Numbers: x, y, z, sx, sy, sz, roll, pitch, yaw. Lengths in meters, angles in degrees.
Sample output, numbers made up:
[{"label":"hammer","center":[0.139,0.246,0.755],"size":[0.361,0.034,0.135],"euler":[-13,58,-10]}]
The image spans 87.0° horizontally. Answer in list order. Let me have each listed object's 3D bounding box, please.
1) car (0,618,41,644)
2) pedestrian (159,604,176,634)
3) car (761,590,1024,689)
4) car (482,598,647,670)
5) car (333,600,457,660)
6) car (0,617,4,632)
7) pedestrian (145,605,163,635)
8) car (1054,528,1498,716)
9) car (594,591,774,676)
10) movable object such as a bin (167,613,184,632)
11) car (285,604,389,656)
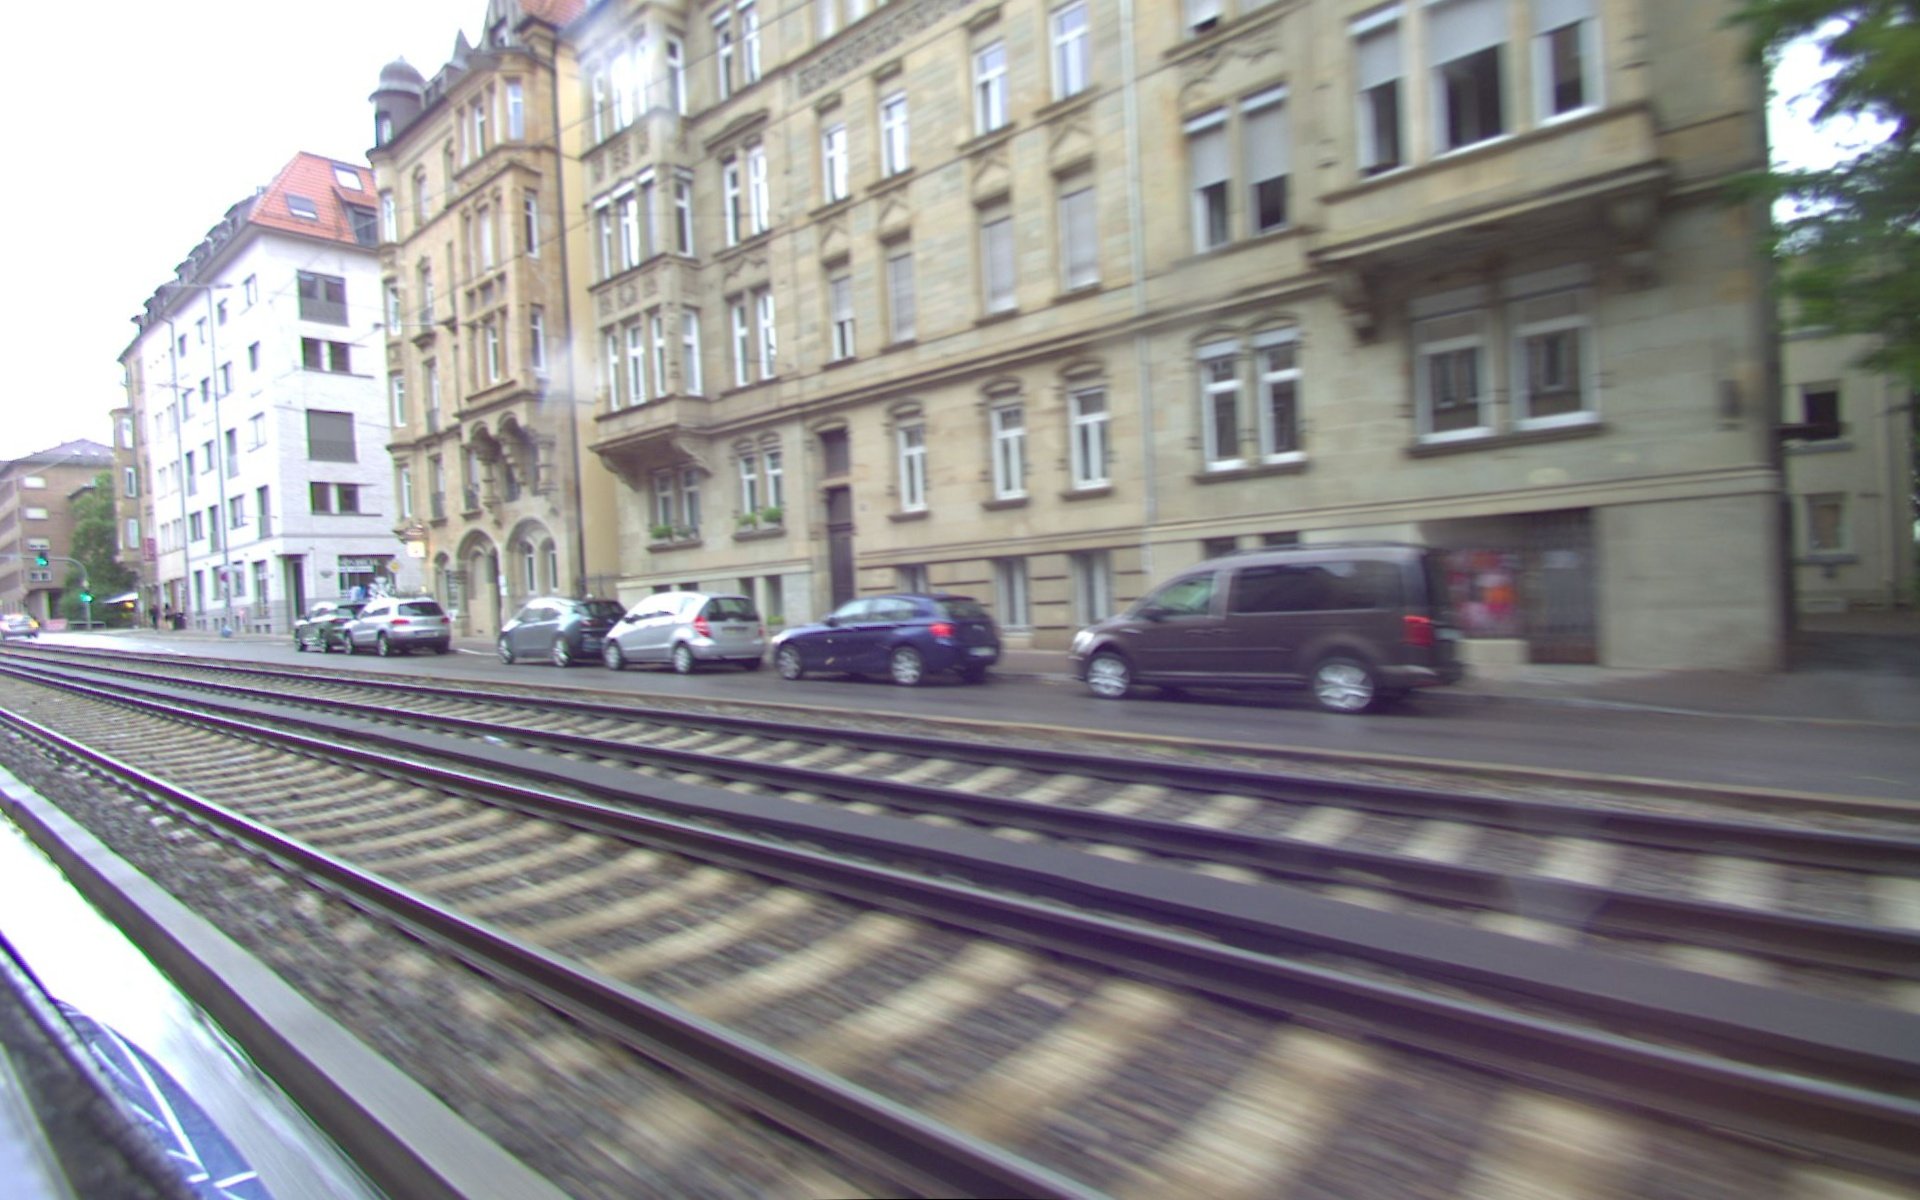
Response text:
[{"label":"car","center":[-58.392,1.894,62.419],"size":[4.291,1.468,1.961],"euler":[-1,-1,40]},{"label":"pedestrian","center":[-47.735,1.140,60.944],"size":[0.658,1.731,0.595],"euler":[-1,3,44]},{"label":"car","center":[-1.192,0.607,16.520],"size":[4.266,1.409,1.744],"euler":[-1,-1,40]},{"label":"car","center":[-9.264,0.748,23.557],"size":[4.167,1.519,1.851],"euler":[-1,0,41]},{"label":"car","center":[-17.027,0.876,30.446],"size":[4.311,1.665,1.840],"euler":[-1,0,40]},{"label":"car","center":[-88.179,2.232,91.953],"size":[3.781,1.398,1.686],"euler":[-1,0,43]},{"label":"pedestrian","center":[-48.176,1.183,60.490],"size":[0.746,1.731,0.595],"euler":[-1,3,44]},{"label":"car","center":[3.629,0.262,12.265],"size":[4.816,1.861,1.782],"euler":[-1,-1,41]},{"label":"car","center":[-5.614,0.642,20.357],"size":[3.853,1.535,1.677],"euler":[-1,-1,42]},{"label":"movable object such as a bin","center":[-48.047,1.375,61.960],"size":[0.563,1.088,0.623],"euler":[-1,5,40]},{"label":"car","center":[-20.788,0.970,33.693],"size":[4.429,1.614,1.838],"euler":[-1,-1,43]}]
